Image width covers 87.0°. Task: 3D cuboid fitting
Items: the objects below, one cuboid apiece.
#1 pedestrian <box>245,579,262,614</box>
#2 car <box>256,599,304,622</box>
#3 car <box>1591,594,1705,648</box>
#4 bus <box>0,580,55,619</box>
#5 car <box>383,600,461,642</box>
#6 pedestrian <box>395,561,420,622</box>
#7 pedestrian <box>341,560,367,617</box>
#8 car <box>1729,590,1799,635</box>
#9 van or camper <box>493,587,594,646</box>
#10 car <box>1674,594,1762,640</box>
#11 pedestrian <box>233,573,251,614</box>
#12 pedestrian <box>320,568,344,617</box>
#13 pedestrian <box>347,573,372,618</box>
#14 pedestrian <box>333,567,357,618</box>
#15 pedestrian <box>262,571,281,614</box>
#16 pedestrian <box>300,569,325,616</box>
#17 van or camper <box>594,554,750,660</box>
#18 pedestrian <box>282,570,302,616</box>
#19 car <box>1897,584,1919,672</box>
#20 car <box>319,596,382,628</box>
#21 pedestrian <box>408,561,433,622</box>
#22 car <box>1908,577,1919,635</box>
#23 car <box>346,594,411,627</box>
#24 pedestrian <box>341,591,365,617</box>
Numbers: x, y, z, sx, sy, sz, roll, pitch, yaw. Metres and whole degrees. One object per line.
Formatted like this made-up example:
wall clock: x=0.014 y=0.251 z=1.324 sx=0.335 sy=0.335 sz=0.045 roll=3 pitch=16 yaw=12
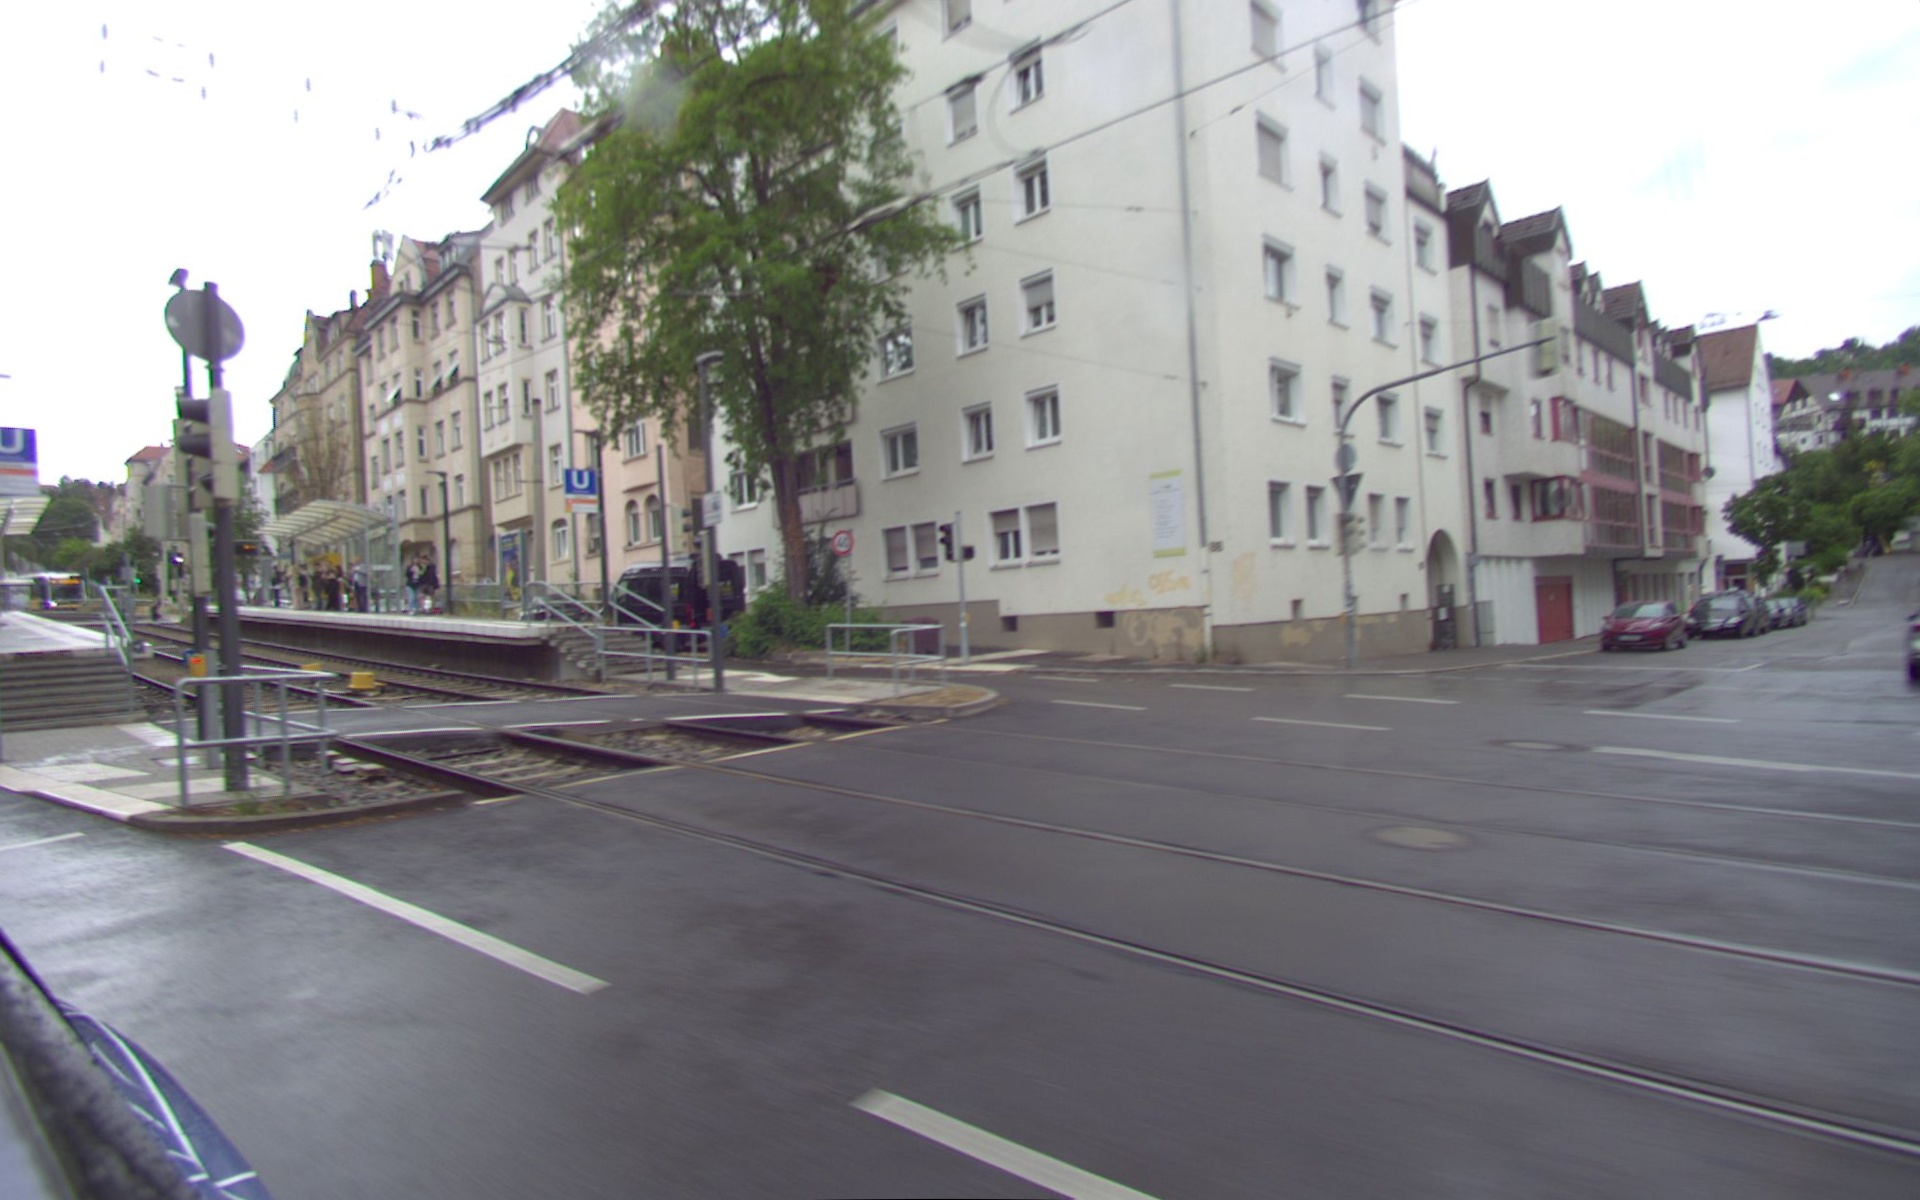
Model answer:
pedestrian: x=-32.743 y=-0.169 z=46.914 sx=0.563 sy=1.617 sz=0.510 roll=0 pitch=-1 yaw=45
car: x=-45.377 y=0.654 z=67.485 sx=4.870 sy=1.453 sz=1.698 roll=0 pitch=1 yaw=44
car: x=20.867 y=0.595 z=30.615 sx=4.660 sy=1.513 sz=2.001 roll=0 pitch=-1 yaw=-45
bus: x=-86.983 y=-0.066 z=94.073 sx=9.092 sy=3.495 sz=2.567 roll=0 pitch=0 yaw=37
car: x=-24.283 y=0.896 z=45.573 sx=1.970 sy=1.745 sz=4.819 roll=0 pitch=0 yaw=-43
pedestrian: x=-16.112 y=-0.237 z=29.488 sx=0.564 sy=1.754 sz=0.477 roll=0 pitch=-1 yaw=45
pedestrian: x=-18.916 y=-0.352 z=31.595 sx=0.614 sy=1.754 sz=0.544 roll=0 pitch=-1 yaw=45
car: x=38.595 y=0.579 z=48.541 sx=4.658 sy=2.029 sz=2.002 roll=0 pitch=-1 yaw=-44
van or camper: x=-15.124 y=0.588 z=36.708 sx=4.001 sy=2.029 sz=1.971 roll=-1 pitch=-1 yaw=44
car: x=28.803 y=0.602 z=38.381 sx=4.660 sy=1.634 sz=2.001 roll=0 pitch=-1 yaw=-45
pedestrian: x=-33.399 y=-0.298 z=47.068 sx=0.599 sy=1.864 sz=0.554 roll=0 pitch=-1 yaw=44
pedestrian: x=-21.747 y=-0.254 z=35.046 sx=0.591 sy=1.678 sz=0.587 roll=0 pitch=-1 yaw=44
pedestrian: x=-19.471 y=-0.136 z=32.818 sx=0.614 sy=1.424 sz=0.544 roll=0 pitch=-1 yaw=45
pedestrian: x=-20.875 y=-0.249 z=34.325 sx=0.614 sy=1.678 sz=0.544 roll=0 pitch=-1 yaw=45
pedestrian: x=-29.791 y=-0.311 z=43.780 sx=0.762 sy=1.852 sz=0.510 roll=0 pitch=-1 yaw=45
pedestrian: x=-23.456 y=-0.263 z=36.661 sx=0.762 sy=1.678 sz=0.587 roll=0 pitch=-1 yaw=45
van or camper: x=-8.456 y=0.214 z=29.494 sx=4.859 sy=2.826 sz=1.973 roll=-1 pitch=-1 yaw=40
pedestrian: x=-27.257 y=-0.298 z=41.305 sx=0.762 sy=1.852 sz=0.510 roll=0 pitch=-1 yaw=45
car: x=18.311 y=0.454 z=18.156 sx=4.660 sy=1.483 sz=2.001 roll=0 pitch=-1 yaw=-45
car: x=-33.813 y=0.638 z=56.081 sx=1.971 sy=1.544 sz=4.536 roll=-4 pitch=4 yaw=-44
pedestrian: x=-15.568 y=-0.241 z=29.201 sx=0.564 sy=1.754 sz=0.477 roll=0 pitch=-1 yaw=45
car: x=35.767 y=0.199 z=36.684 sx=4.387 sy=2.029 sz=1.872 roll=0 pitch=-1 yaw=-45
car: x=-29.926 y=0.546 z=52.000 sx=1.900 sy=1.634 sz=4.539 roll=0 pitch=-1 yaw=-44
pedestrian: x=-20.087 y=0.134 z=33.474 sx=0.614 sy=0.878 sz=0.544 roll=0 pitch=-1 yaw=45
